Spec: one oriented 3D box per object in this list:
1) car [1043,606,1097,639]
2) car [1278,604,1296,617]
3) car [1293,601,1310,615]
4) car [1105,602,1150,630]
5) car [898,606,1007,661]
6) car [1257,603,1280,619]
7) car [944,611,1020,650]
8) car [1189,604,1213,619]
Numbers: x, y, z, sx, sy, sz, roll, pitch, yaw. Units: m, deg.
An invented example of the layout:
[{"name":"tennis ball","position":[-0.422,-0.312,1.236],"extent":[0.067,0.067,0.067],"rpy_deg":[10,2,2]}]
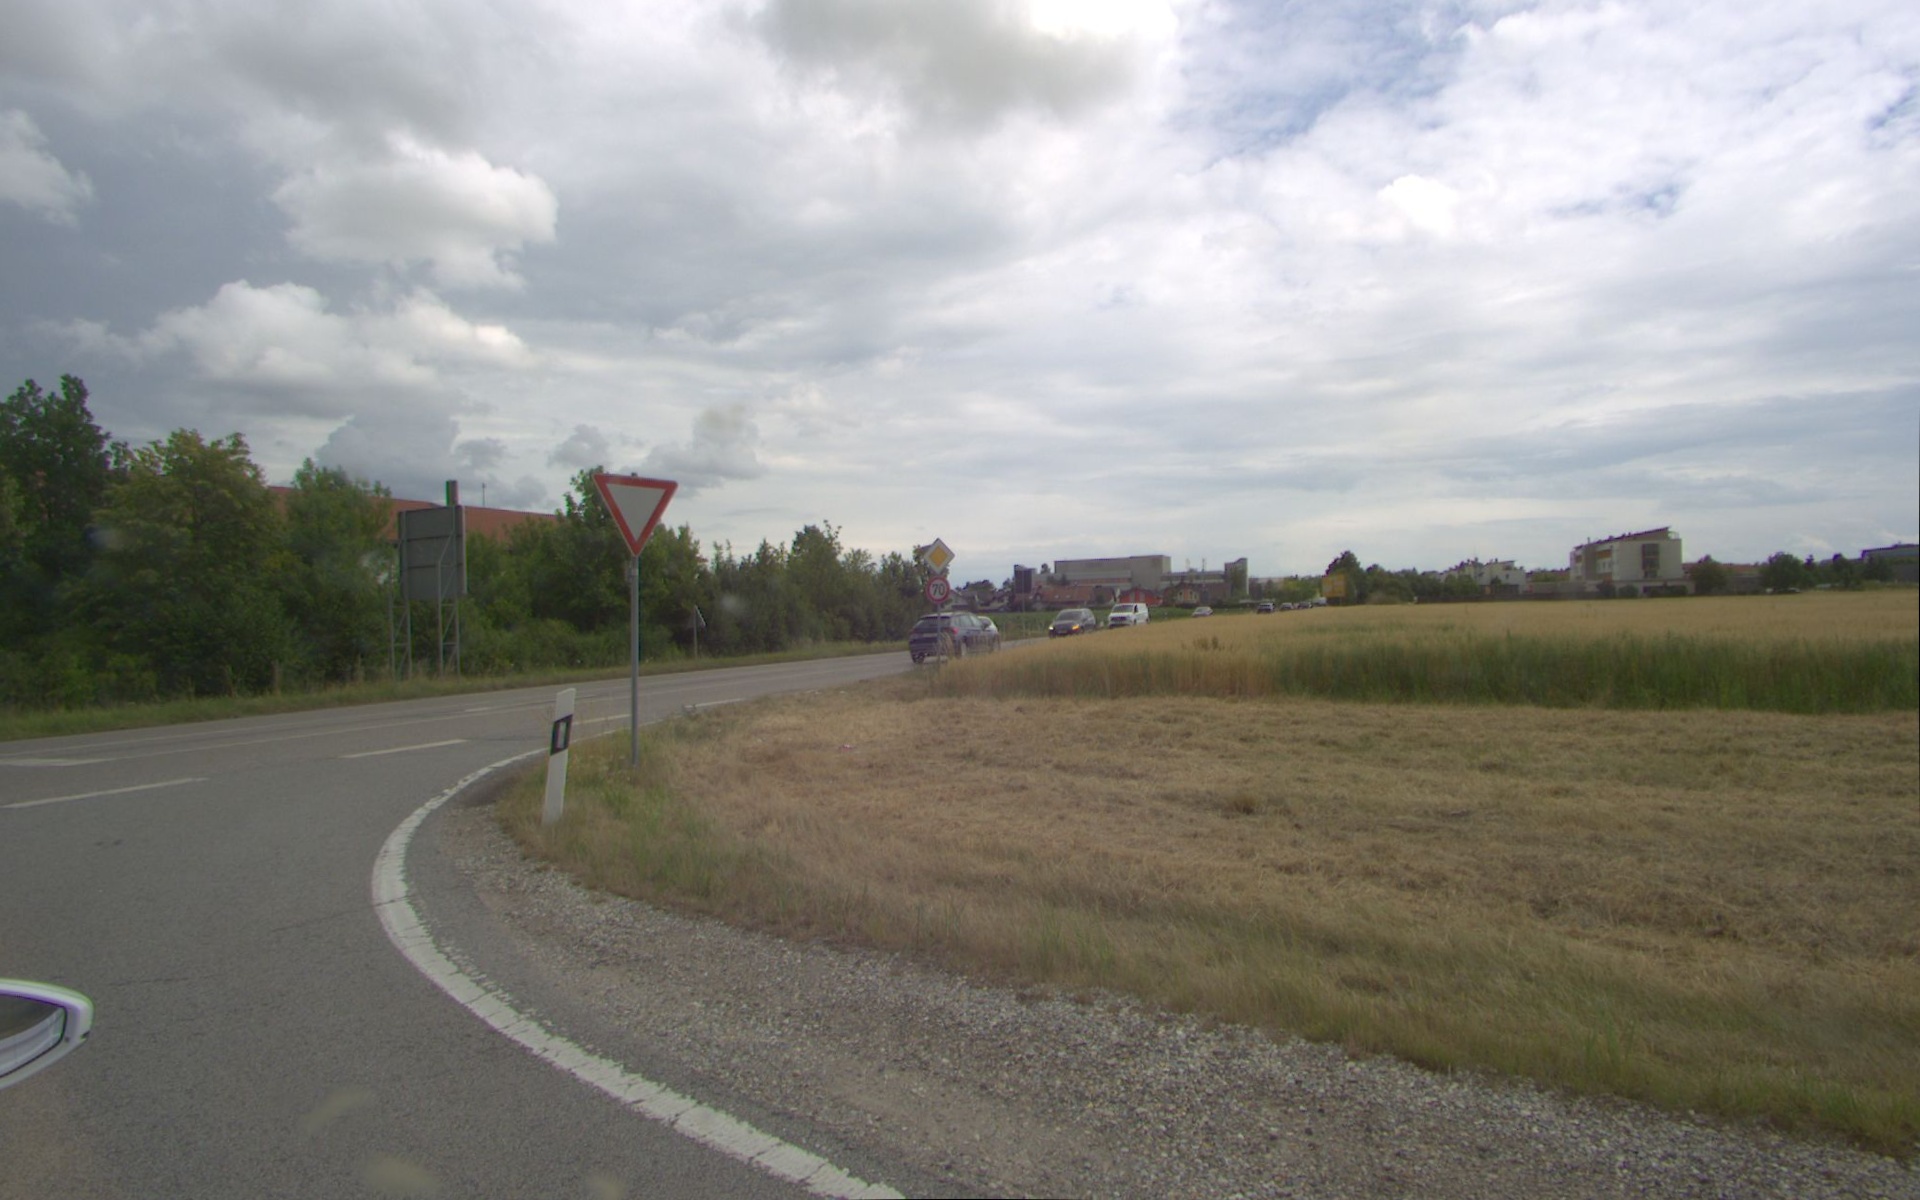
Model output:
[{"name":"car","position":[6.119,1.210,55.287],"extent":[1.725,1.680,4.278],"rpy_deg":[-3,-1,23]},{"name":"car","position":[45.758,1.487,140.209],"extent":[1.835,1.750,3.985],"rpy_deg":[-1,0,26]},{"name":"car","position":[56.369,1.311,165.297],"extent":[2.086,2.040,4.724],"rpy_deg":[-1,0,24]},{"name":"car","position":[12.777,1.184,75.964],"extent":[2.078,1.910,5.374],"rpy_deg":[-2,-1,23]},{"name":"car","position":[-0.163,1.022,31.798],"extent":[1.835,1.586,3.985],"rpy_deg":[-2,0,26]},{"name":"car","position":[35.298,1.205,114.444],"extent":[1.835,1.750,3.985],"rpy_deg":[-1,0,26]},{"name":"car","position":[1.011,1.265,42.724],"extent":[1.790,1.426,4.300],"rpy_deg":[-3,0,22]},{"name":"car","position":[25.079,1.168,104.101],"extent":[1.651,1.420,4.076],"rpy_deg":[-3,-1,24]}]
